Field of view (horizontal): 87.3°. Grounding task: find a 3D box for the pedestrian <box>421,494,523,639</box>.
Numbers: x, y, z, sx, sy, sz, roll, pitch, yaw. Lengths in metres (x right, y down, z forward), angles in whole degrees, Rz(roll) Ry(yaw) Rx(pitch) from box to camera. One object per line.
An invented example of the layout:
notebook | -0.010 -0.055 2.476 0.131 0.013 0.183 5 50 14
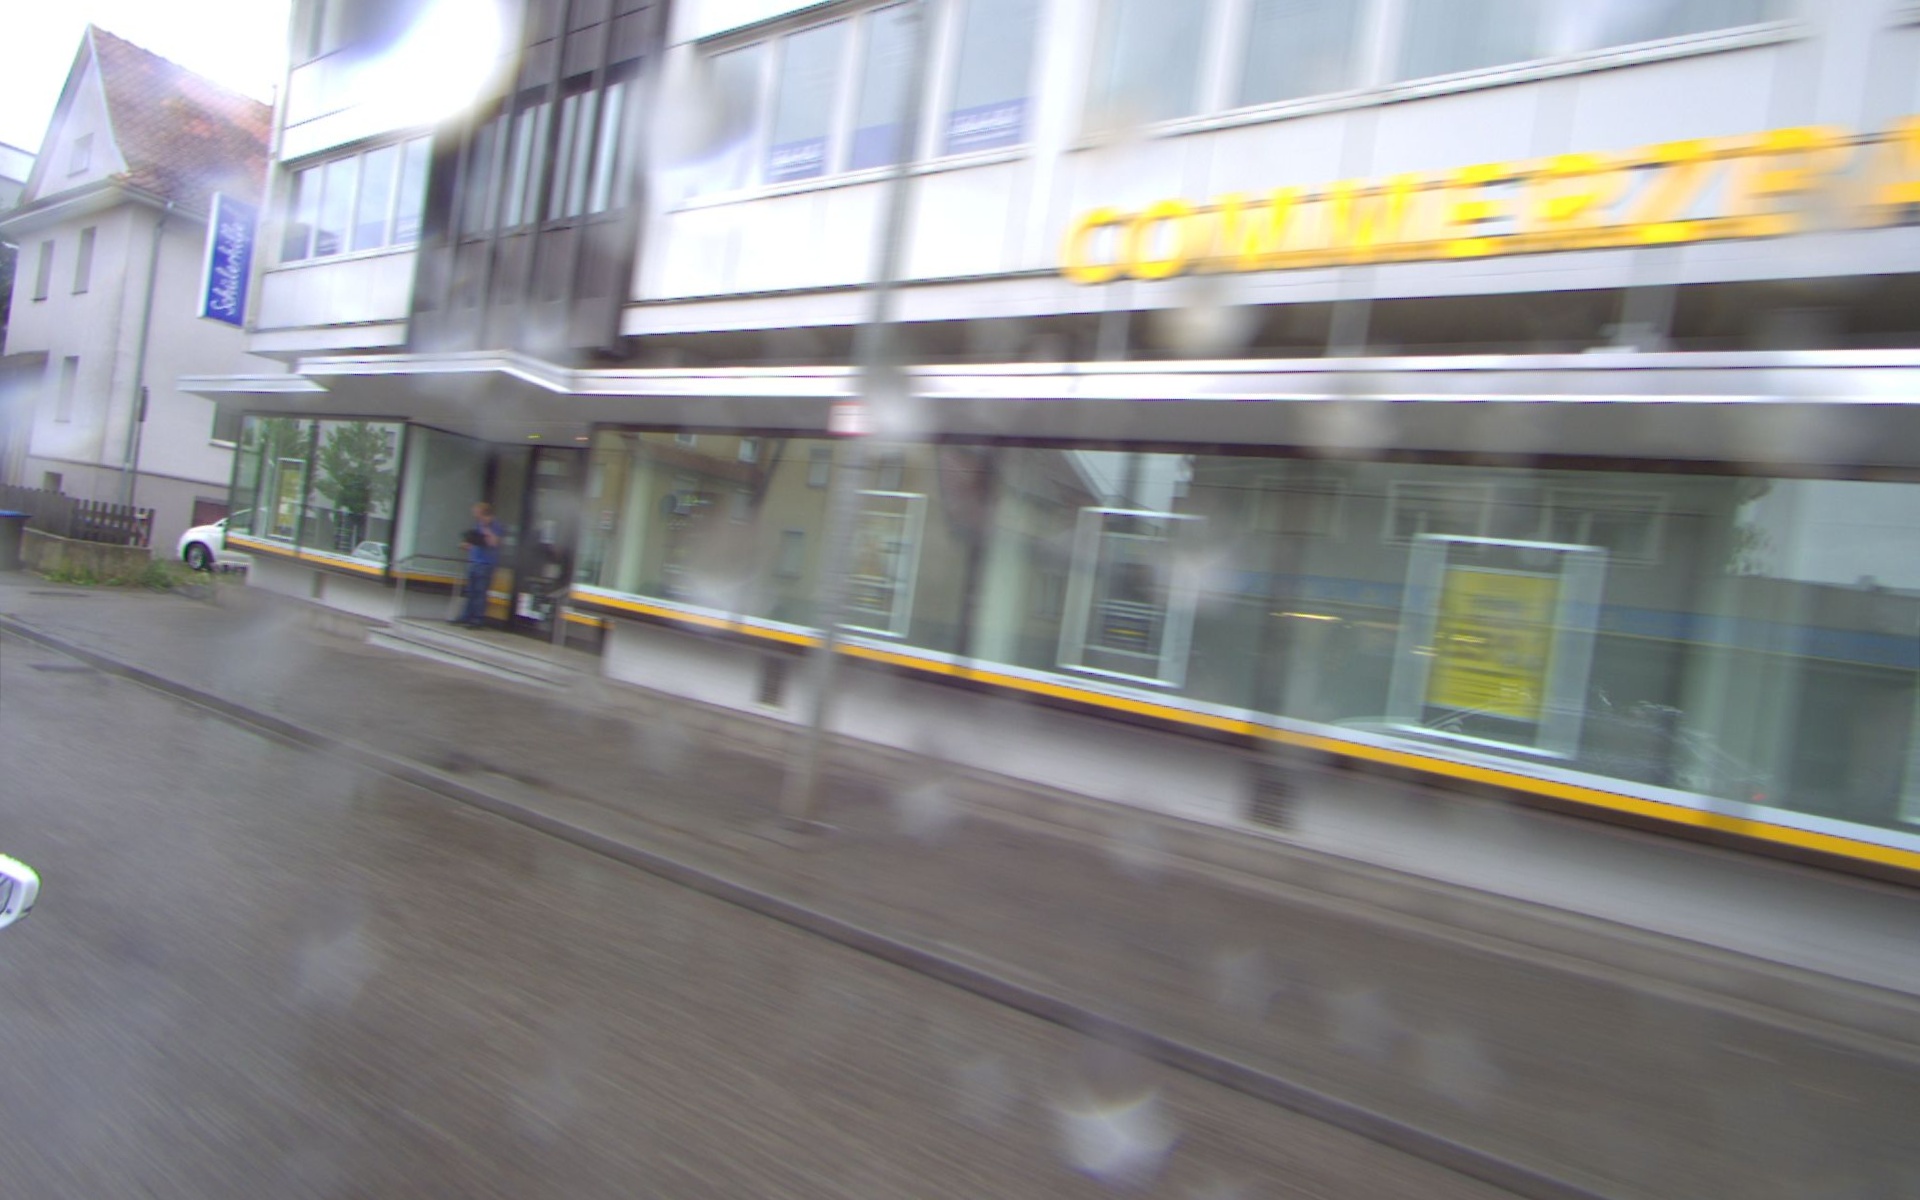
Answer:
pedestrian | -6.582 -0.450 13.554 0.939 1.802 0.728 8 1 41

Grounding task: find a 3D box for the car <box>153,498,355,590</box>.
car | -15.073 -1.178 21.559 3.278 1.522 1.354 7 2 0

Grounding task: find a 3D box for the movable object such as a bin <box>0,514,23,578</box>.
movable object such as a bin | -17.299 -0.993 17.968 0.817 1.062 0.576 9 2 33
